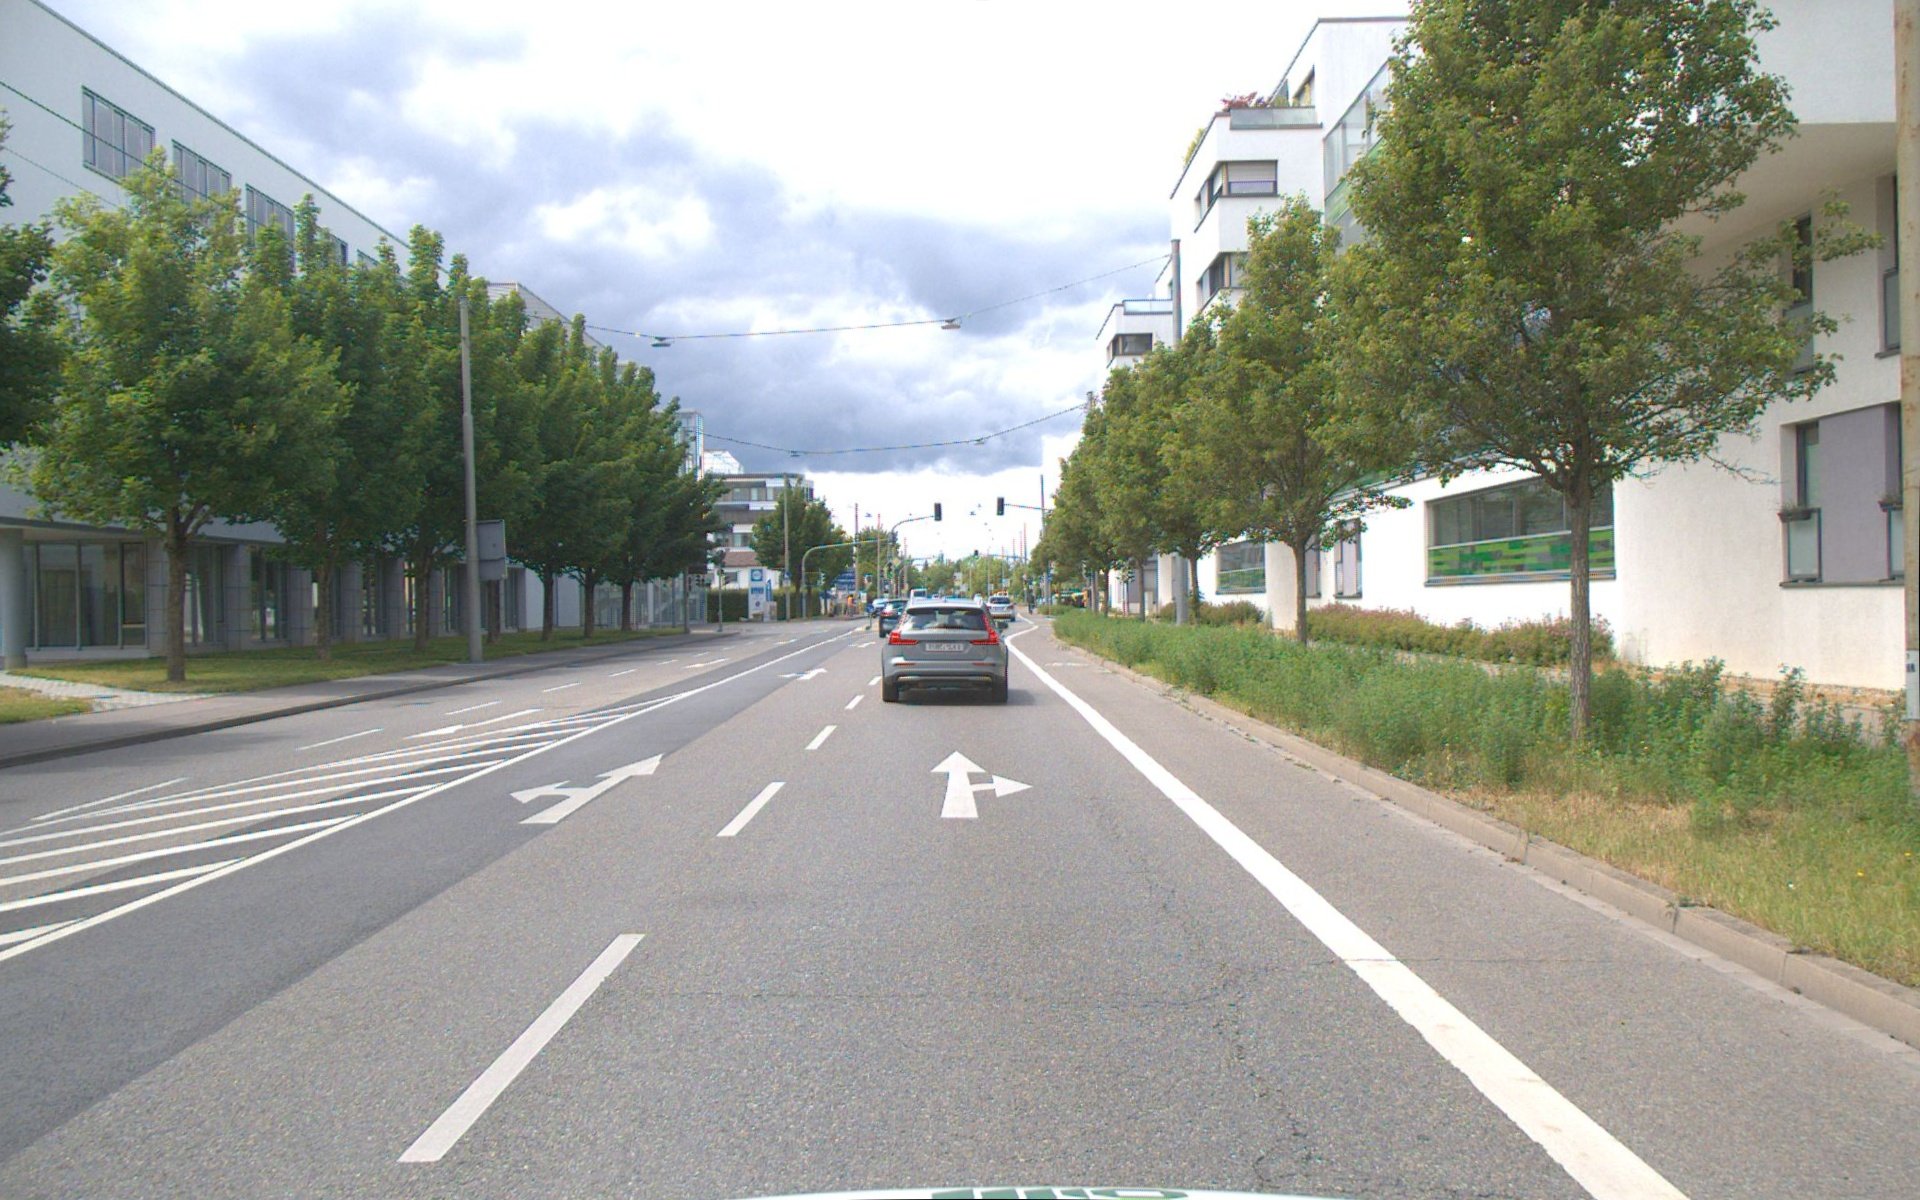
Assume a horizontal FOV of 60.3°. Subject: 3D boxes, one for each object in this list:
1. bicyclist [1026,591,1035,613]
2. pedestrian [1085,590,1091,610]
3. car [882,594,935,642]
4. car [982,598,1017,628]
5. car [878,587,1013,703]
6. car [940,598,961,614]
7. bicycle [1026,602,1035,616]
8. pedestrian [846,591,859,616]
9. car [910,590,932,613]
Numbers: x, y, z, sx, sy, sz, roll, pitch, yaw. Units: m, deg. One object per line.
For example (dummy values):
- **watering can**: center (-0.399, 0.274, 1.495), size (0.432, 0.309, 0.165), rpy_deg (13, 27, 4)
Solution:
- **bicyclist**: center (5.713, 0.165, 134.597), size (0.625, 1.704, 0.890), rpy_deg (-4, 0, 1)
- **pedestrian**: center (11.940, 0.001, 154.281), size (0.496, 1.796, 0.501), rpy_deg (1, -1, 17)
- **car**: center (-1.940, 0.698, 63.200), size (1.953, 1.747, 3.999), rpy_deg (1, -1, -1)
- **car**: center (2.291, 0.780, 96.725), size (1.952, 1.724, 4.000), rpy_deg (1, -1, 0)
- **car**: center (-0.142, 0.653, 25.007), size (1.856, 1.581, 4.000), rpy_deg (1, -1, 2)
- **car**: center (-0.979, 0.677, 177.456), size (1.846, 1.579, 4.541), rpy_deg (-2, -1, 4)
- **bicycle**: center (5.752, 0.711, 134.314), size (0.625, 1.081, 1.978), rpy_deg (-4, 0, 1)
- **pedestrian**: center (-8.848, 0.315, 136.025), size (0.714, 2.049, 0.805), rpy_deg (0, -1, 44)
- **car**: center (-4.438, 0.193, 189.265), size (2.098, 2.515, 6.074), rpy_deg (-3, 0, 2)
